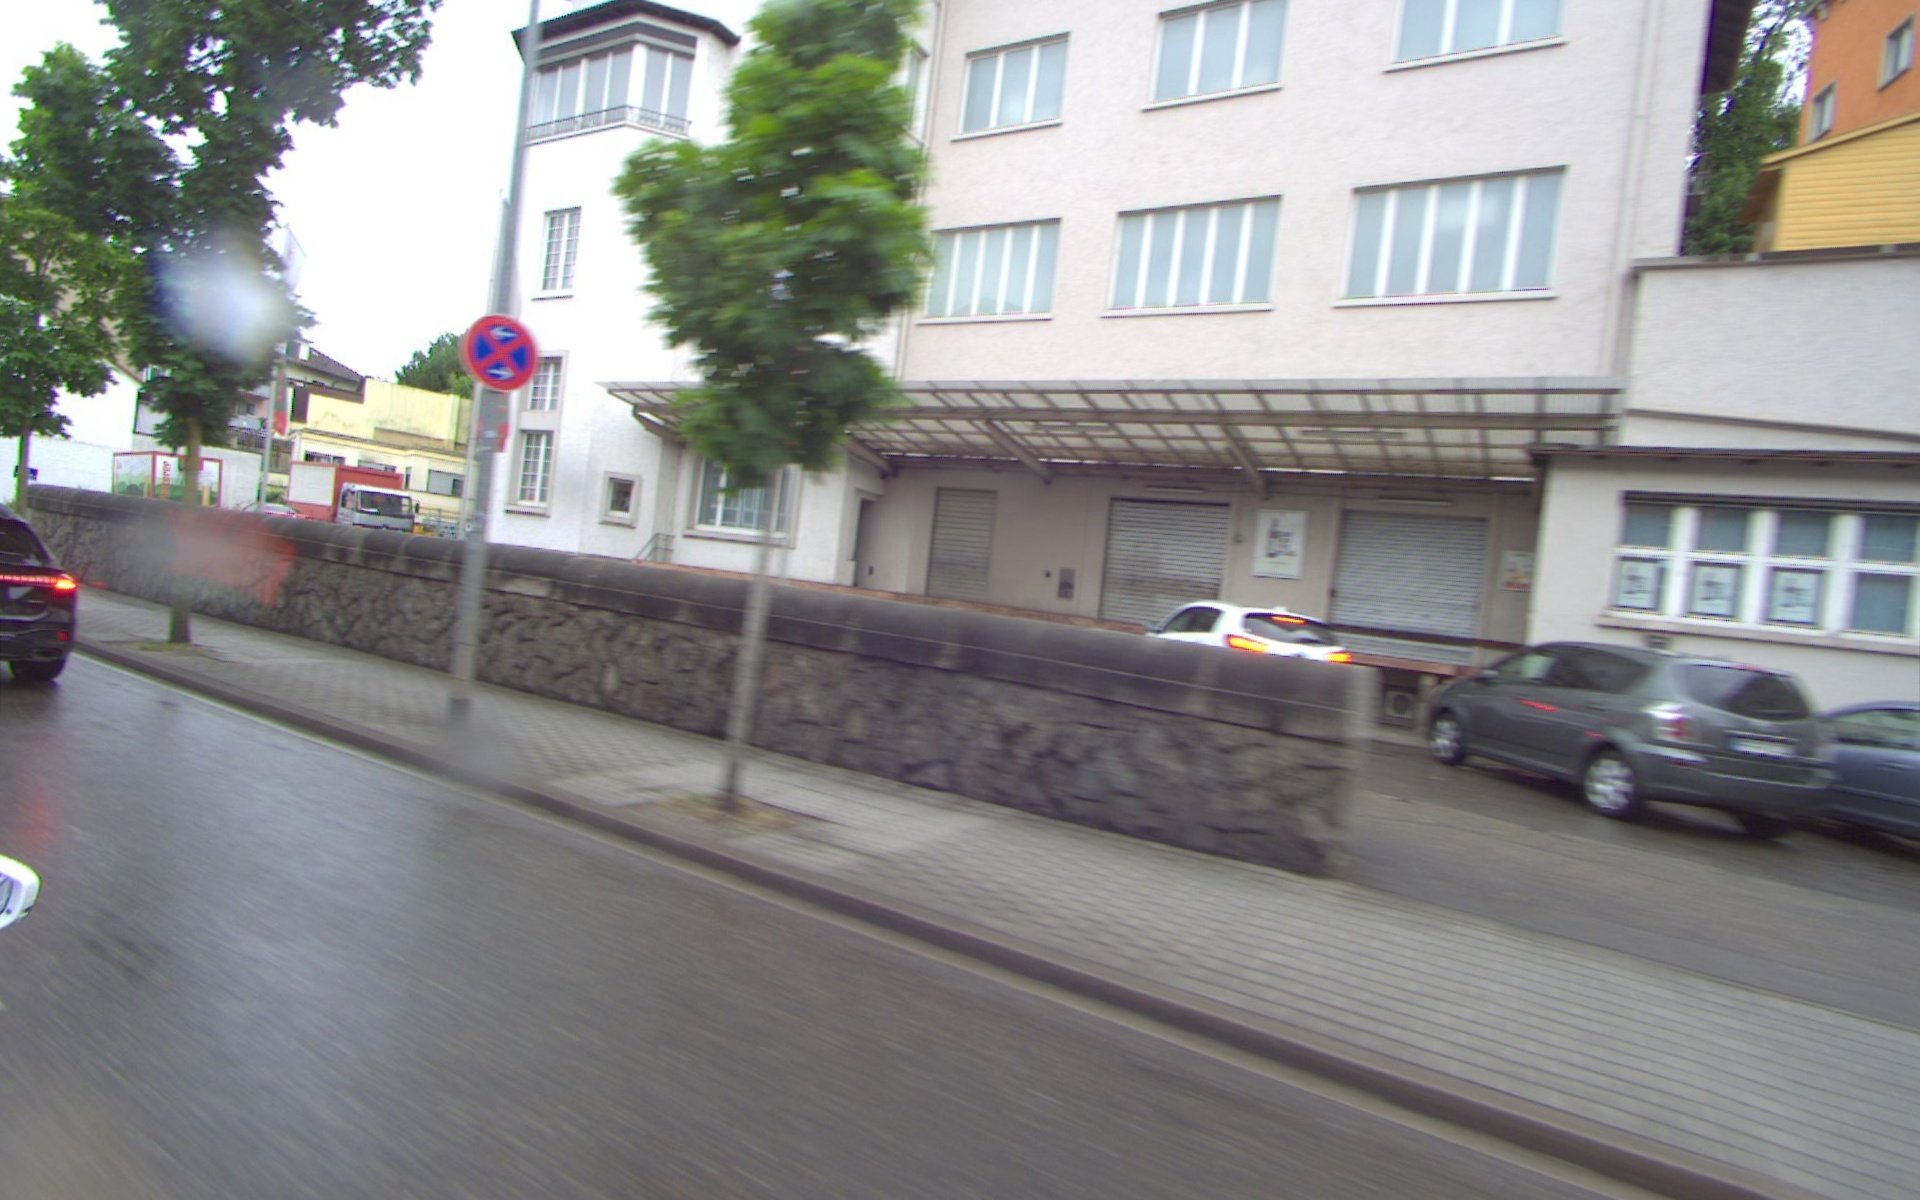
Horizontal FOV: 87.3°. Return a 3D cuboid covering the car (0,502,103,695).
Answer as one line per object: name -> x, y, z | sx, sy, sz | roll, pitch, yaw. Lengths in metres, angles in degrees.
car -> -9.228, -0.237, 8.401 | 4.557, 1.420, 1.791 | 7, 0, 32

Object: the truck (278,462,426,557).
truck -> -24.637, -3.701, 40.633 | 6.823, 3.258, 2.629 | 7, 2, 37

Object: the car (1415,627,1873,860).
car -> 6.736, 1.285, 10.569 | 1.740, 1.603, 3.995 | 7, 1, -3

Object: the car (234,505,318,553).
car -> -25.984, -2.692, 38.195 | 3.214, 1.475, 1.589 | 6, 1, 37

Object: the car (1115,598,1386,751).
car -> 3.754, 0.896, 13.840 | 1.895, 1.586, 3.976 | 8, -1, -9

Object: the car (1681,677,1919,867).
car -> 9.259, 1.727, 9.570 | 1.616, 1.418, 3.833 | 7, 1, -7

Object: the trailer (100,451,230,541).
trailer -> -28.390, -3.732, 35.863 | 5.305, 2.753, 2.126 | 7, 3, 35
